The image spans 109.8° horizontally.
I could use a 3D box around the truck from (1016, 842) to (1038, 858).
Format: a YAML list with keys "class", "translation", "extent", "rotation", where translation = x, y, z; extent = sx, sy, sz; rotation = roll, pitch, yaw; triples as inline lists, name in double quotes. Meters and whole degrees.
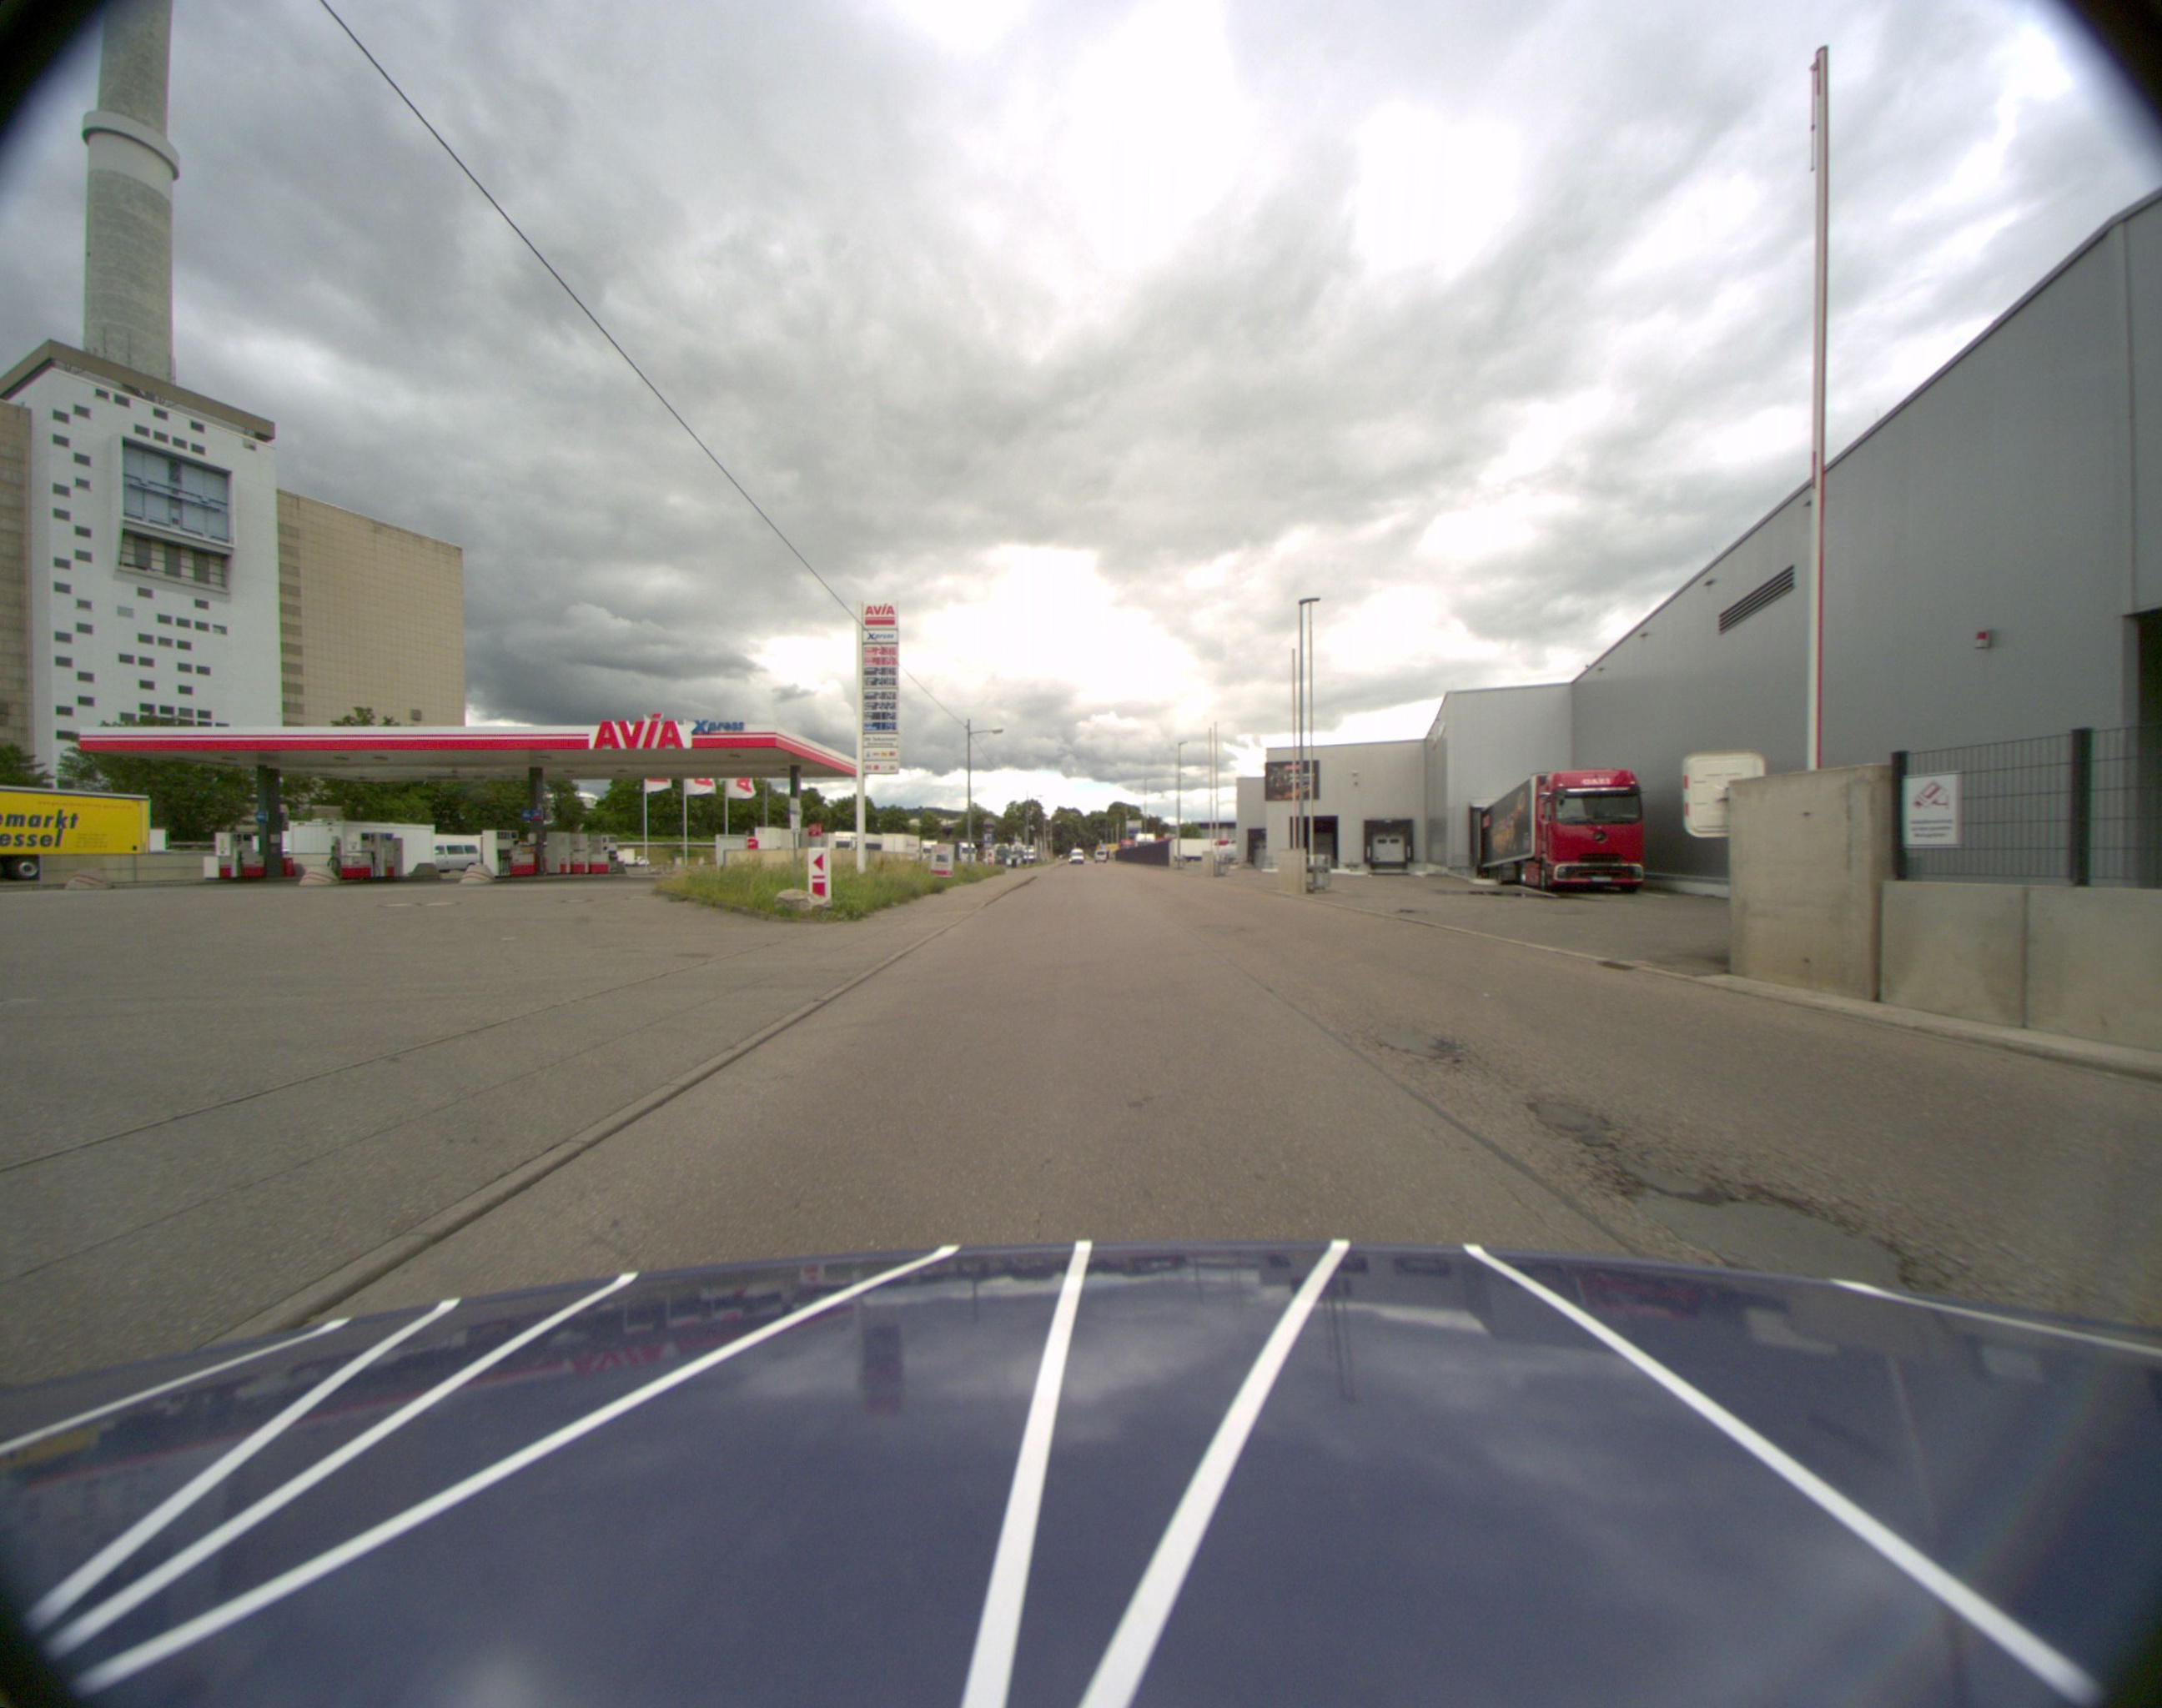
- class: "truck"
  translation: [-12.335, -0.888, 172.412]
  extent: [2.832, 3.690, 9.089]
  rotation: [-1, 0, -18]

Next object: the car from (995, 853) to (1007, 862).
- class: "car"
  translation: [-13.121, 0.564, 125.151]
  extent: [1.497, 1.486, 4.053]
  rotation: [-1, 0, 2]

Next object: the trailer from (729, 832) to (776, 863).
- class: "trailer"
  translation: [-44.536, -0.827, 103.523]
  extent: [3.644, 3.887, 13.721]
  rotation: [0, 0, -14]

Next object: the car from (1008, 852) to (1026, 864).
- class: "car"
  translation: [-7.814, 0.484, 93.556]
  extent: [1.778, 1.455, 4.560]
  rotation: [0, 0, 0]

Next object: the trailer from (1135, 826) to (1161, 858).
- class: "trailer"
  translation: [9.533, -1.658, 109.554]
  extent: [3.366, 4.136, 13.851]
  rotation: [1, 0, 4]

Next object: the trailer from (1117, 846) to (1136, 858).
- class: "trailer"
  translation: [8.536, -0.406, 144.210]
  extent: [3.046, 2.179, 12.047]
  rotation: [1, 0, 0]

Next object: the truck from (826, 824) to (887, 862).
- class: "truck"
  translation: [-25.715, -1.177, 87.945]
  extent: [3.082, 3.944, 13.068]
  rotation: [1, 0, 0]

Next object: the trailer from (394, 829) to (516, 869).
- class: "trailer"
  translation: [-70.786, -0.486, 85.604]
  extent: [18.451, 4.148, 3.649]
  rotation: [0, 0, 28]

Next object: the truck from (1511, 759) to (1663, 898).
- class: "truck"
  translation: [16.762, -0.721, 25.730]
  extent: [2.745, 4.007, 7.103]
  rotation: [-1, 0, 21]

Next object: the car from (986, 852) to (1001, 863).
- class: "car"
  translation: [-12.805, 0.491, 111.311]
  extent: [1.769, 1.562, 3.999]
  rotation: [-3, 0, 0]

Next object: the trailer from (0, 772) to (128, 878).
- class: "trailer"
  translation: [-49.600, -1.284, 31.220]
  extent: [3.007, 4.696, 14.299]
  rotation: [0, 0, -1]

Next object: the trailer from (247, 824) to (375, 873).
- class: "trailer"
  translation: [-76.115, -0.471, 74.880]
  extent: [18.241, 4.475, 3.565]
  rotation: [0, 1, 28]

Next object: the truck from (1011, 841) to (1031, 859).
- class: "truck"
  translation: [-12.315, -0.750, 155.258]
  extent: [2.876, 3.609, 6.747]
  rotation: [1, 0, -15]

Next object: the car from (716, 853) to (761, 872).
- class: "car"
  translation: [-27.757, 0.674, 61.725]
  extent: [1.769, 1.383, 4.215]
  rotation: [1, 0, -1]

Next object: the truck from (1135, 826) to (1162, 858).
- class: "truck"
  translation: [9.067, -1.615, 102.569]
  extent: [3.366, 4.136, 5.628]
  rotation: [1, 1, 4]

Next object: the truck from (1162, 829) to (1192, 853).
- class: "truck"
  translation: [16.724, -2.235, 132.721]
  extent: [4.878, 4.109, 3.048]
  rotation: [1, 1, 1]

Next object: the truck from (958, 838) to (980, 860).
- class: "truck"
  translation: [-20.915, -0.886, 141.814]
  extent: [2.877, 4.071, 6.745]
  rotation: [1, 0, -20]

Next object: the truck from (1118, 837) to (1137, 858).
- class: "truck"
  translation: [8.507, -1.186, 138.540]
  extent: [3.021, 3.827, 5.670]
  rotation: [1, 1, 0]

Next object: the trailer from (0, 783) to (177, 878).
- class: "trailer"
  translation: [-45.673, -0.945, 30.009]
  extent: [3.007, 3.892, 14.299]
  rotation: [0, 0, -1]

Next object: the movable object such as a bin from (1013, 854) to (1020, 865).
- class: "movable object such as a bin"
  translation: [-6.518, 0.545, 76.463]
  extent: [0.716, 1.075, 0.662]
  rotation: [0, 0, -6]

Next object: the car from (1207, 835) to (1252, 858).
- class: "car"
  translation: [19.349, -0.934, 98.865]
  extent: [5.423, 2.714, 2.244]
  rotation: [-2, 0, 19]

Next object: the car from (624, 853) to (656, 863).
- class: "car"
  translation: [-64.314, 0.542, 110.778]
  extent: [4.137, 1.346, 2.004]
  rotation: [0, 0, 26]

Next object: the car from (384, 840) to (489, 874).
- class: "car"
  translation: [-37.923, 0.175, 44.877]
  extent: [1.988, 1.901, 4.950]
  rotation: [0, 0, 0]

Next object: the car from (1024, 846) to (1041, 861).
- class: "car"
  translation: [-7.940, -0.117, 124.910]
  extent: [2.091, 2.401, 6.083]
  rotation: [-1, 0, 2]

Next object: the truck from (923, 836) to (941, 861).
- class: "truck"
  translation: [-25.702, -0.949, 130.876]
  extent: [2.876, 4.071, 6.748]
  rotation: [1, 0, -14]

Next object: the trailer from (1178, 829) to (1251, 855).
- class: "trailer"
  translation: [23.071, -2.072, 131.347]
  extent: [12.020, 4.109, 3.052]
  rotation: [2, 1, 19]

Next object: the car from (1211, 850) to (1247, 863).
- class: "car"
  translation: [18.335, 0.322, 94.006]
  extent: [4.071, 1.567, 1.947]
  rotation: [-2, 0, 22]

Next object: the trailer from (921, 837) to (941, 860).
- class: "trailer"
  translation: [-27.140, -0.944, 136.835]
  extent: [2.841, 4.071, 13.379]
  rotation: [1, 0, -14]

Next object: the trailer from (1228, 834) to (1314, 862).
- class: "trailer"
  translation: [30.716, -0.974, 122.932]
  extent: [13.157, 4.189, 3.053]
  rotation: [2, 1, 22]

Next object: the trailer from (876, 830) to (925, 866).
- class: "trailer"
  translation: [-21.715, -0.701, 92.225]
  extent: [2.964, 3.944, 10.406]
  rotation: [1, 0, 3]

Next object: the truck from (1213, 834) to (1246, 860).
- class: "truck"
  translation: [24.528, -1.135, 125.473]
  extent: [4.870, 4.180, 3.053]
  rotation: [2, 1, 22]

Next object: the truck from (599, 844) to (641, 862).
- class: "truck"
  translation: [-66.185, -0.110, 108.996]
  extent: [5.942, 2.476, 2.286]
  rotation: [2, 1, 26]

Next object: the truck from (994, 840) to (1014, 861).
- class: "truck"
  translation: [-15.276, -0.701, 151.064]
  extent: [2.876, 3.990, 6.747]
  rotation: [1, 0, -15]

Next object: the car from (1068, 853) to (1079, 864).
- class: "car"
  translation: [-1.457, 0.757, 140.487]
  extent: [1.713, 2.002, 3.888]
  rotation: [0, 0, -5]

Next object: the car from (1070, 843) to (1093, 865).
- class: "car"
  translation: [-0.033, 0.020, 127.099]
  extent: [3.339, 3.586, 8.667]
  rotation: [0, 0, -3]

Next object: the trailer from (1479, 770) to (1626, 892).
- class: "trailer"
  translation: [18.904, -0.767, 31.425]
  extent: [2.745, 4.007, 12.636]
  rotation: [-1, 0, 21]

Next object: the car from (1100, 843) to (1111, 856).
- class: "car"
  translation: [4.572, -0.848, 141.963]
  extent: [1.998, 2.402, 5.257]
  rotation: [-1, 0, 3]
